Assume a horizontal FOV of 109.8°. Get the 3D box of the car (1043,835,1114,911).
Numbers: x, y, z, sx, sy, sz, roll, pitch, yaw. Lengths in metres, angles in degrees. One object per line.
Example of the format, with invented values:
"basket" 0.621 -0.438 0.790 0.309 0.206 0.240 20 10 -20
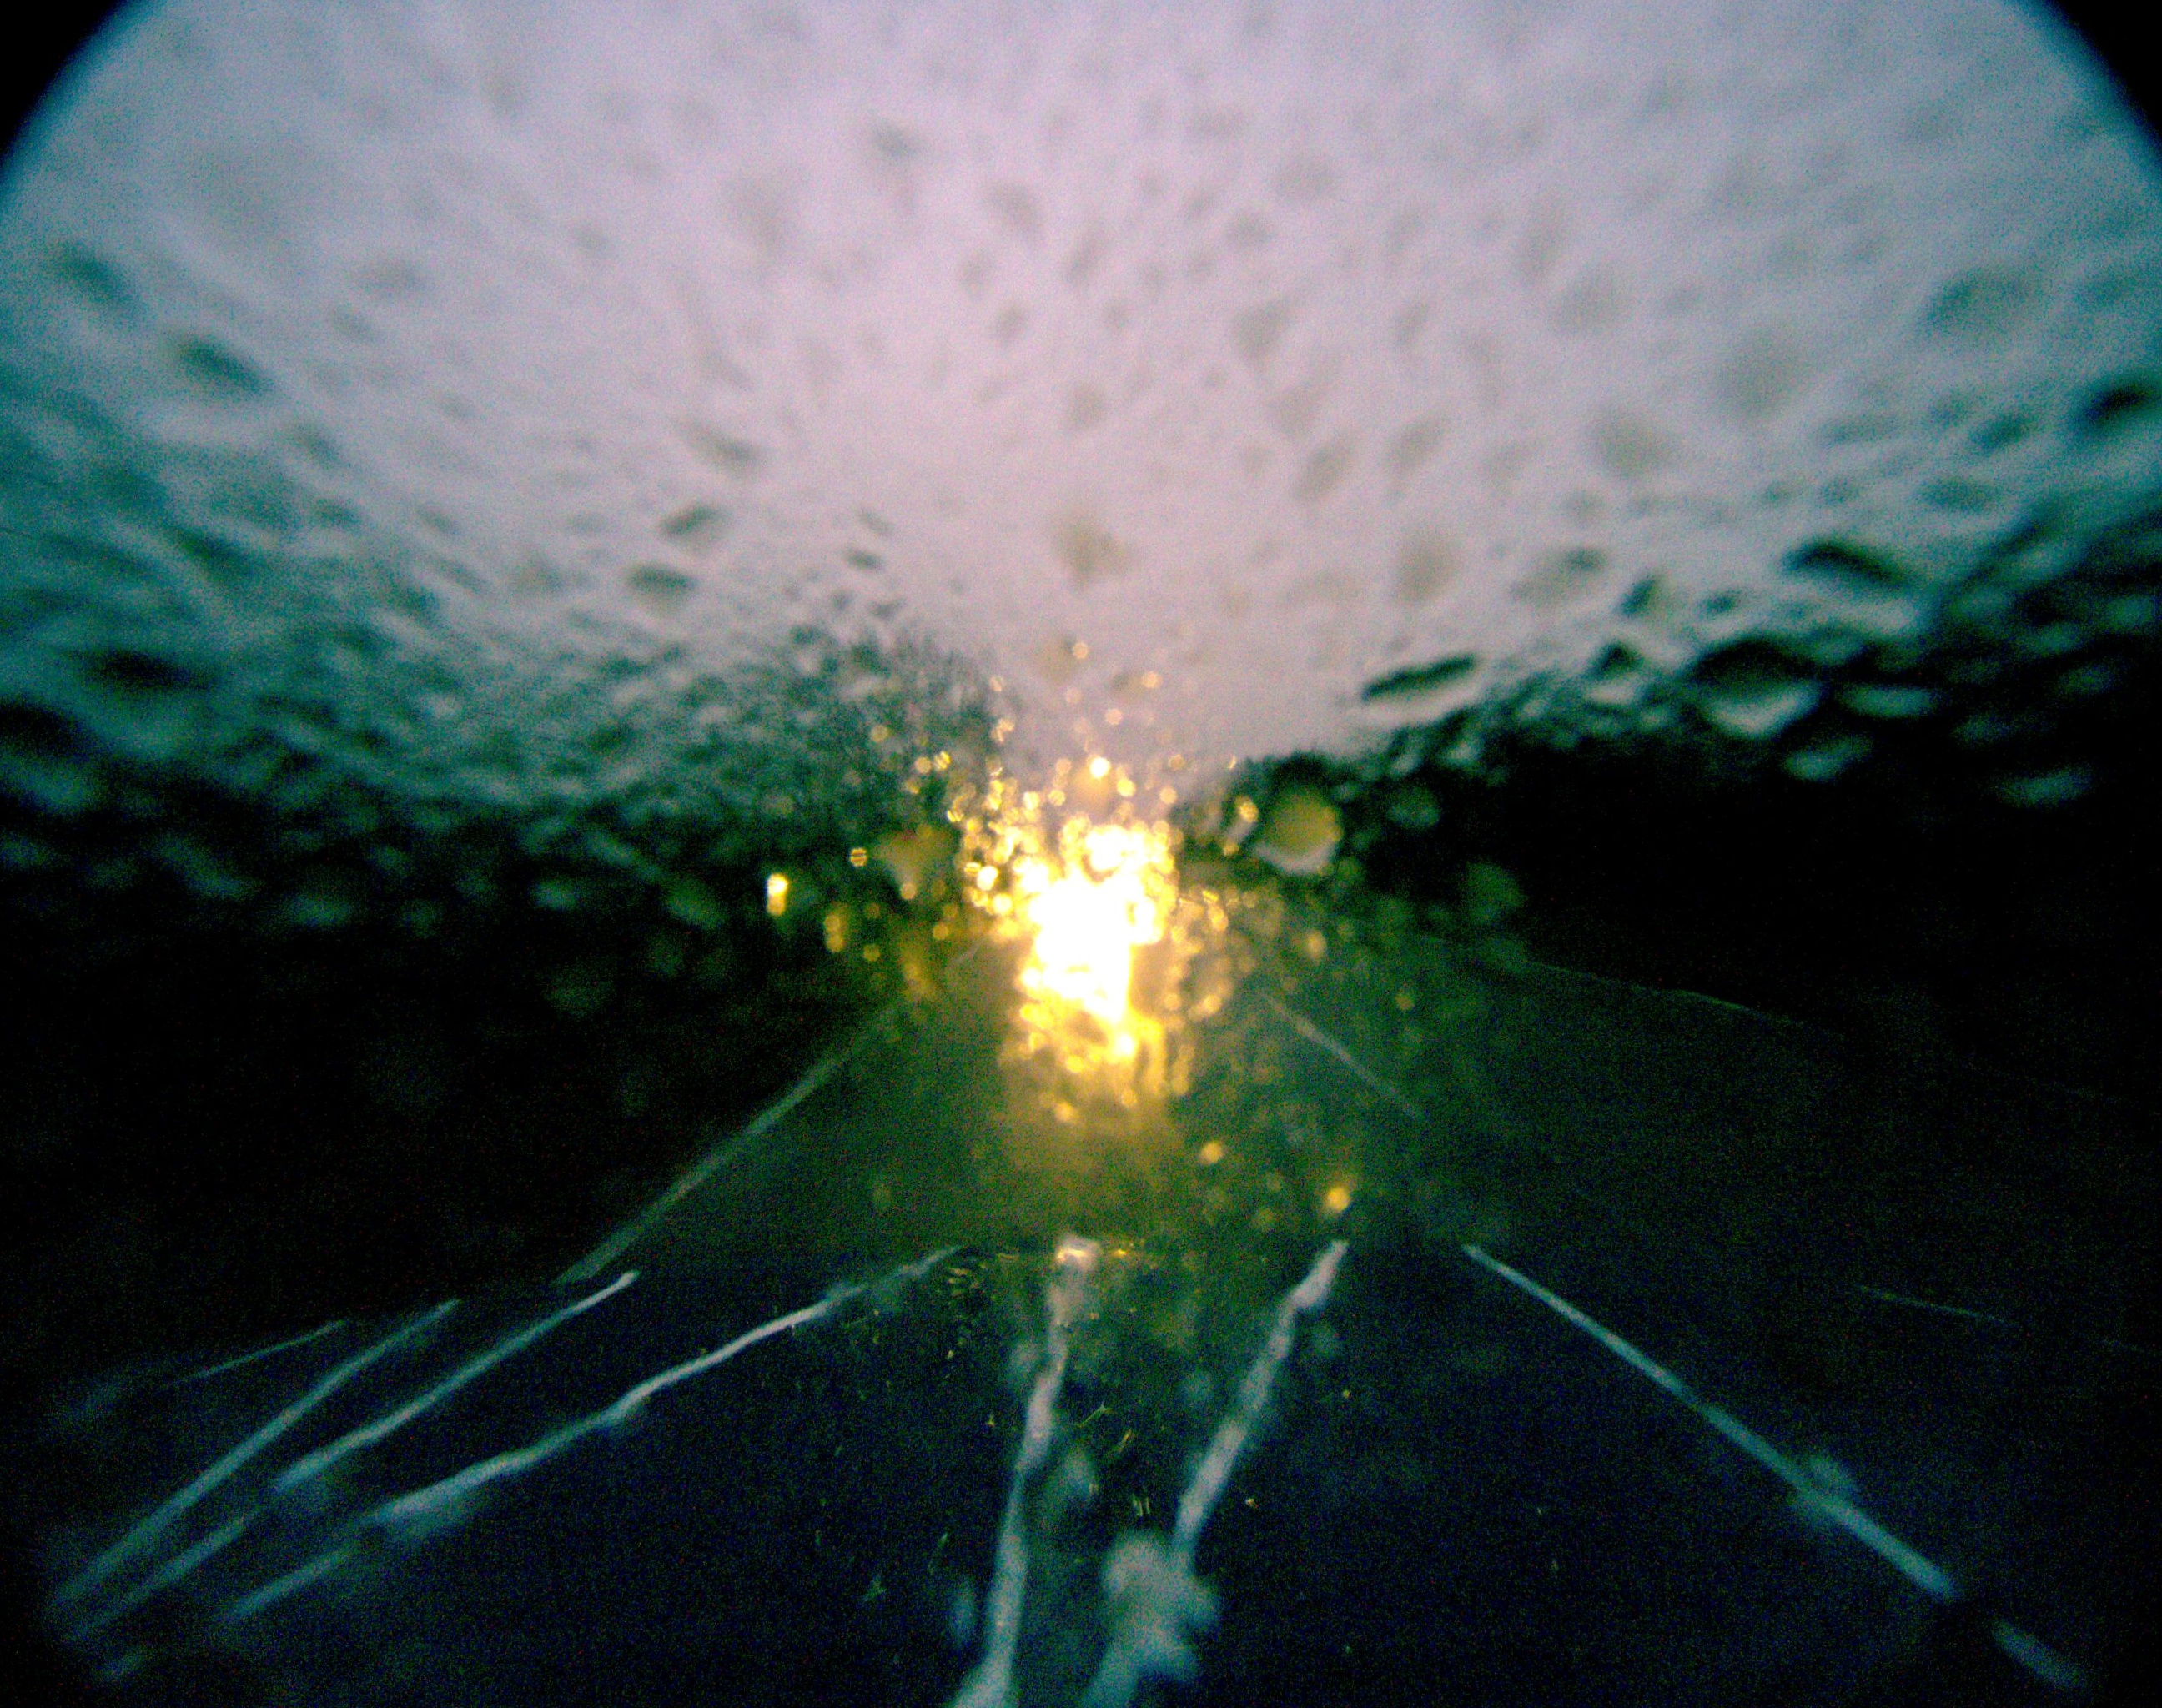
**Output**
"car" 0.033 0.560 24.737 1.952 2.195 4.535 -2 0 3
